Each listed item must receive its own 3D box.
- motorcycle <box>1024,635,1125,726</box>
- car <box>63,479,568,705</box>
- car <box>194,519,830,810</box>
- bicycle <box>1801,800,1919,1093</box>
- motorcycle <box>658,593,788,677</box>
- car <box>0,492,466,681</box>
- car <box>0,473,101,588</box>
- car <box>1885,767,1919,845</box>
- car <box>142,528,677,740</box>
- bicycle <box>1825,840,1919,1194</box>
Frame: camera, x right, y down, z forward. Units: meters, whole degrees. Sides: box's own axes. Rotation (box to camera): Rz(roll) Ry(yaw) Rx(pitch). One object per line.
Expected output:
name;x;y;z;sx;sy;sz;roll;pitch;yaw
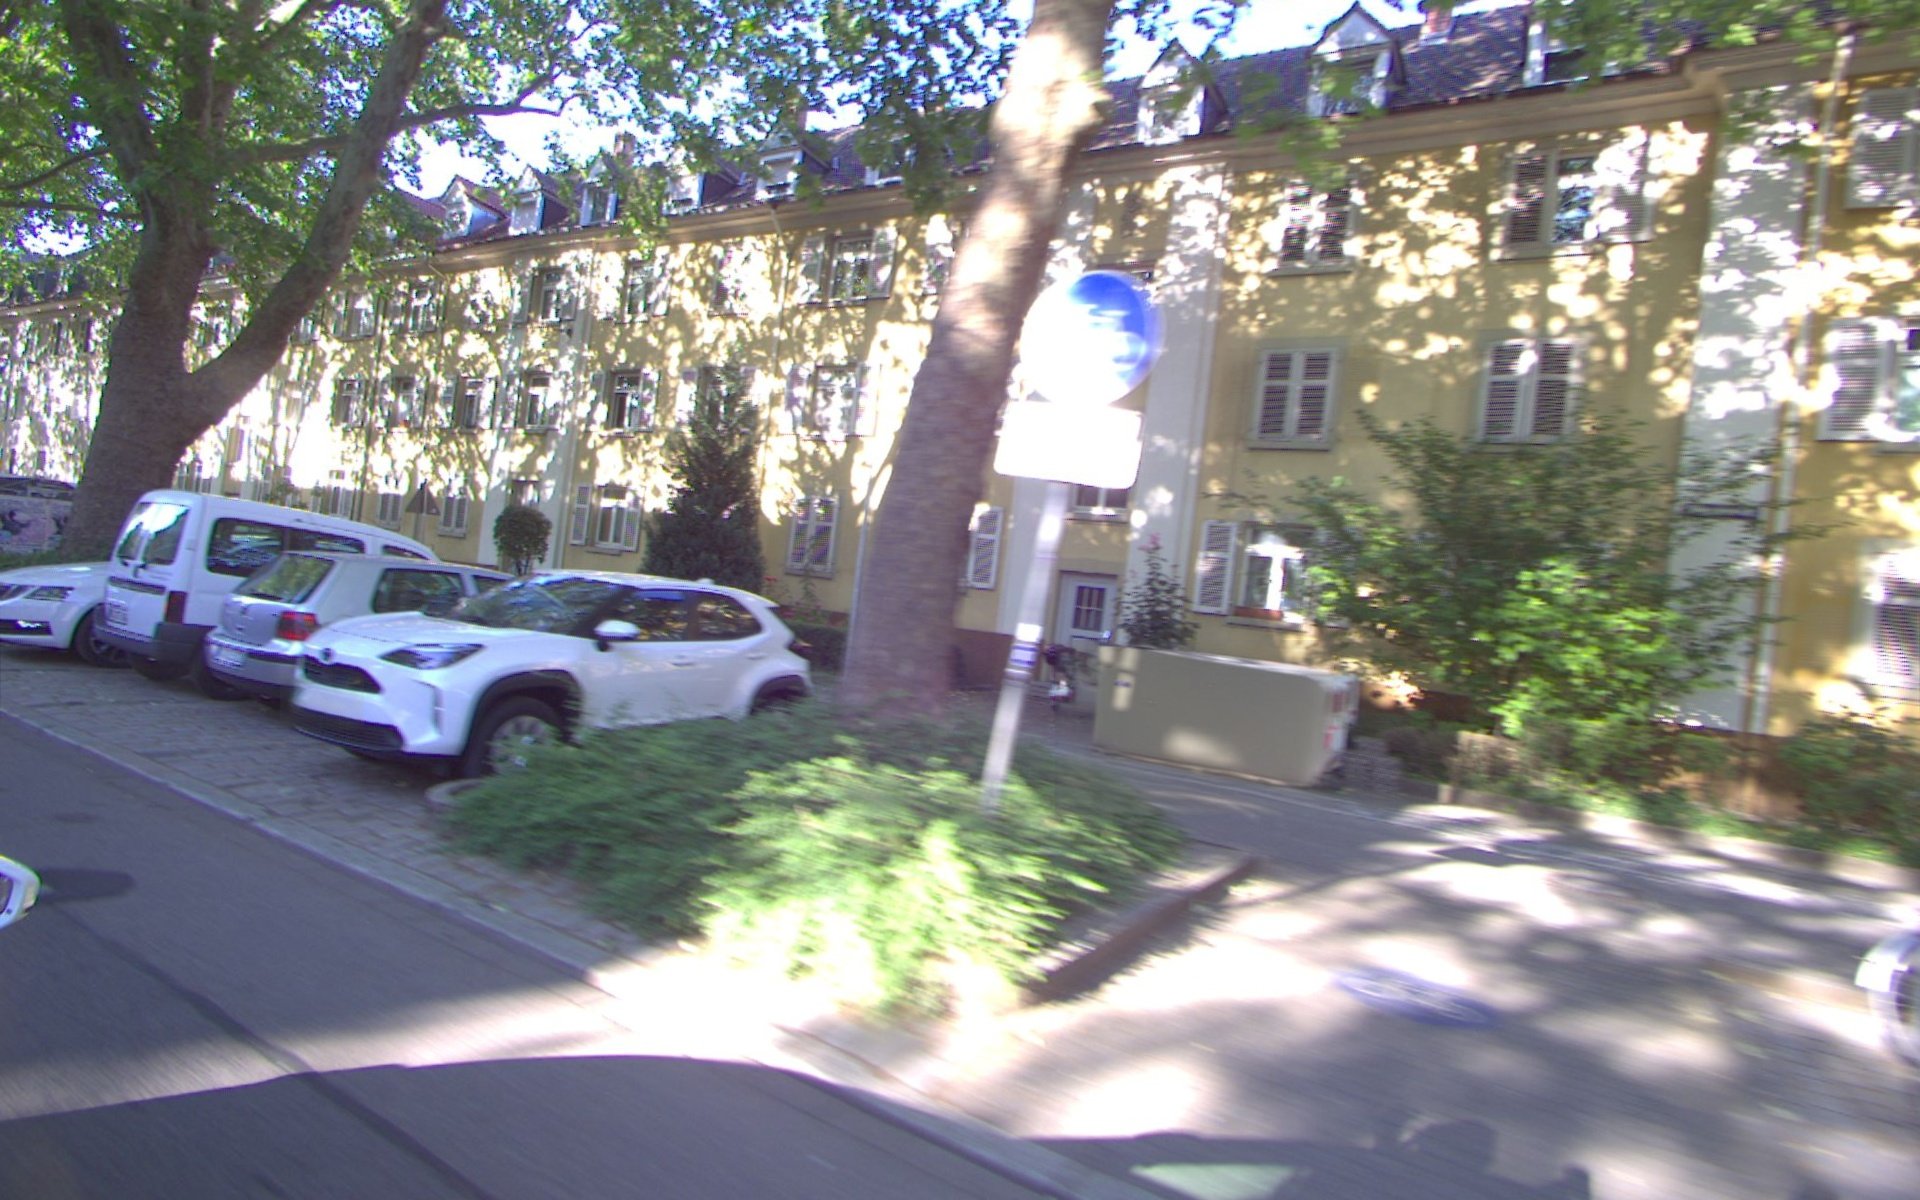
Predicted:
motorcycle;1.831;1.274;15.739;0.701;1.264;1.994;7;-1;30
car;-6.411;0.034;10.406;1.886;1.793;3.847;7;-2;35
car;-3.078;0.501;7.836;1.884;1.539;4.096;6;-2;30
bicycle;4.973;1.655;4.303;1.916;1.168;0.692;7;-1;32
motorcycle;-4.114;0.589;17.388;2.226;1.167;0.716;7;0;32
car;-8.216;-0.067;11.274;1.773;1.560;4.374;8;-1;35
car;-19.271;-1.546;18.424;2.029;1.986;4.847;7;-2;29
car;11.696;2.479;11.482;1.548;0.861;0.446;7;-3;33
car;-4.833;0.392;9.340;1.822;1.449;3.847;7;-2;35
bicycle;4.058;1.538;3.216;1.779;1.083;0.636;7;-1;32
